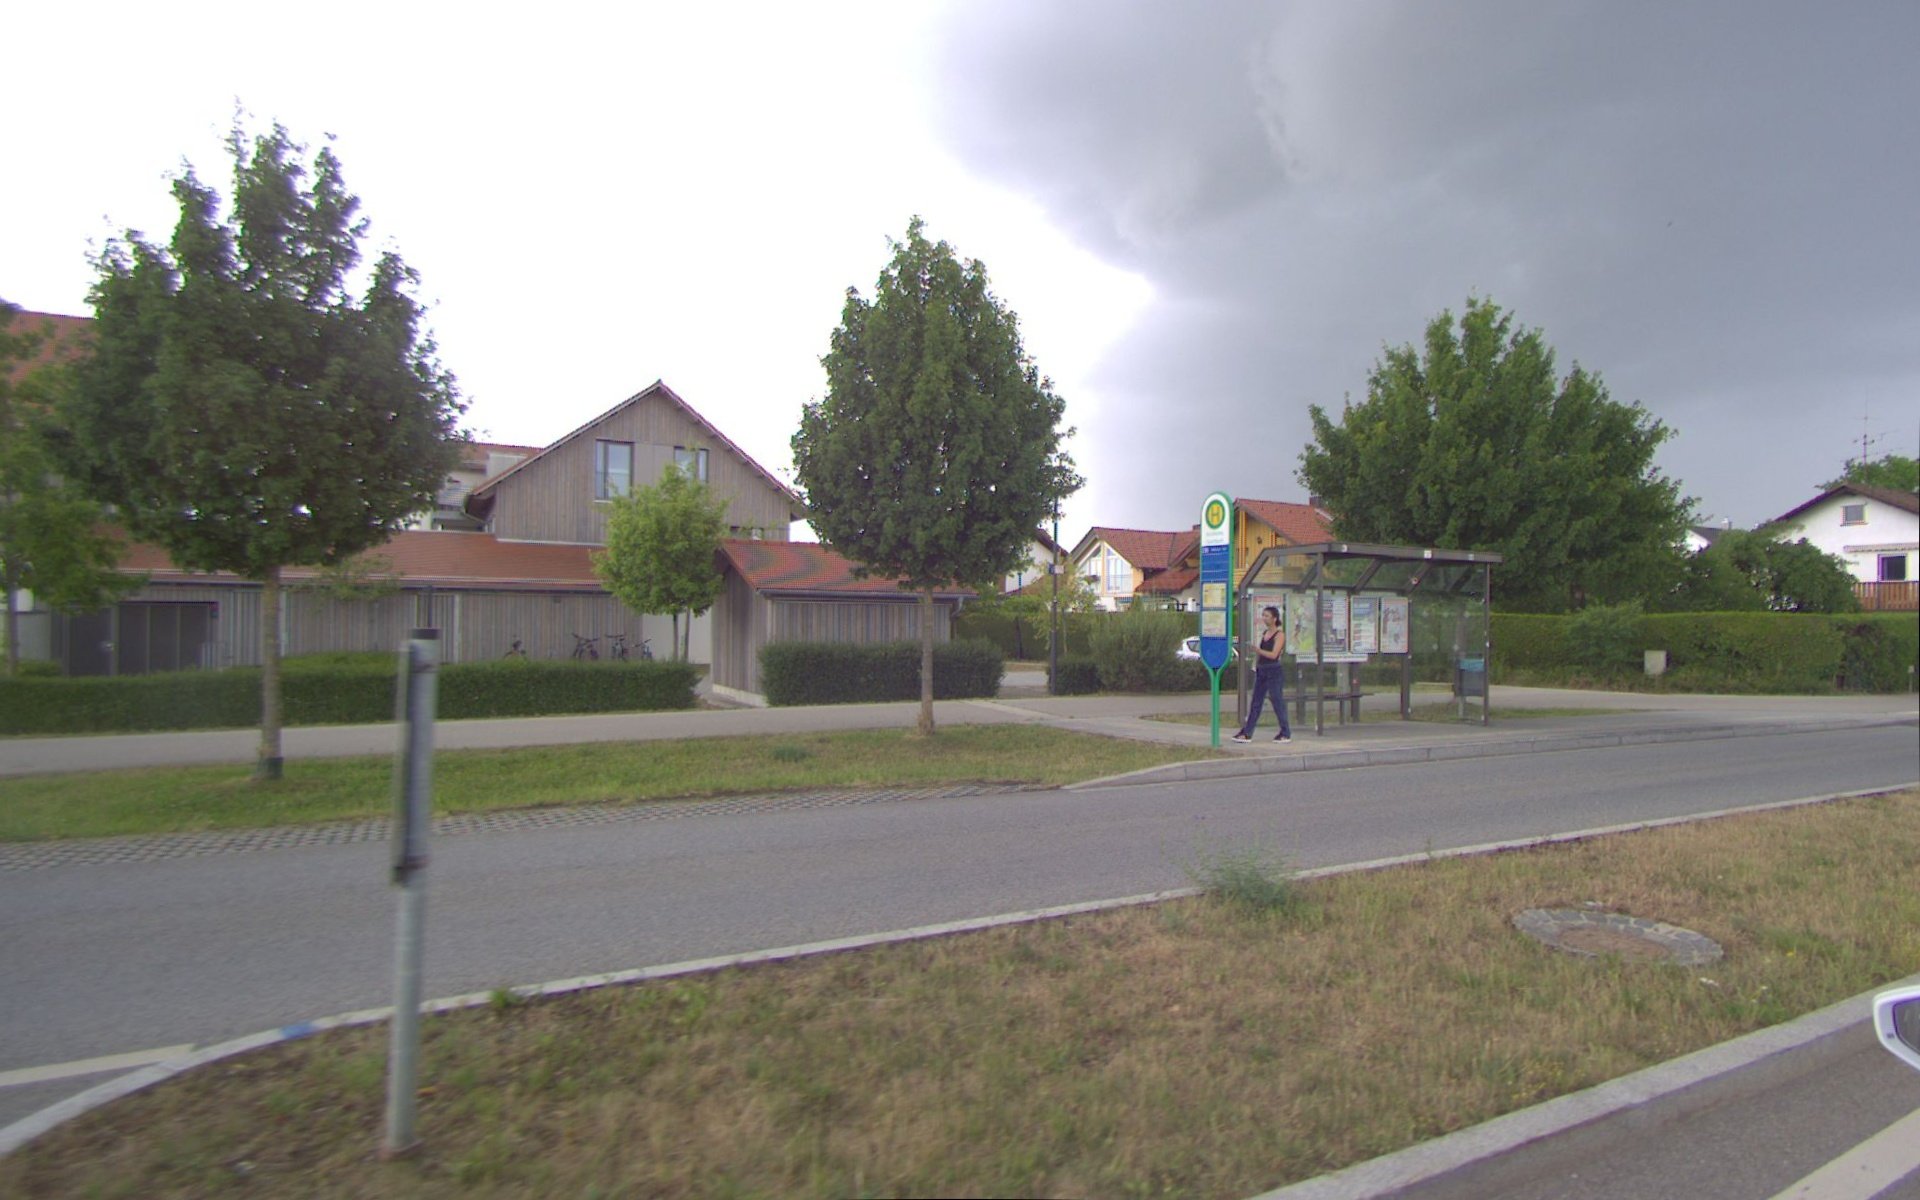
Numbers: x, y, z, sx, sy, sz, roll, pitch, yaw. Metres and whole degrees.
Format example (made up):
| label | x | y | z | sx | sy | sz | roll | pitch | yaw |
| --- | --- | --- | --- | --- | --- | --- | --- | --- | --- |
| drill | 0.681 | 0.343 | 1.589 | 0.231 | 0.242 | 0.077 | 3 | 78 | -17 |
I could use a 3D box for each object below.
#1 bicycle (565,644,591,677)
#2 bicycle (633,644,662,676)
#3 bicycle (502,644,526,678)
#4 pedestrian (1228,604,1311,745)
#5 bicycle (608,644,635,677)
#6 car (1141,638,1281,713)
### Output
| label | x | y | z | sx | sy | sz | roll | pitch | yaw |
| --- | --- | --- | --- | --- | --- | --- | --- | --- | --- |
| bicycle | -11.570 | 1.804 | 30.394 | 0.414 | 0.921 | 1.932 | 1 | -1 | -30 |
| bicycle | -9.791 | 1.865 | 31.423 | 0.414 | 0.921 | 1.932 | 1 | -1 | -30 |
| bicycle | -13.078 | 1.774 | 29.443 | 0.414 | 0.921 | 1.932 | 1 | -1 | -30 |
| pedestrian | 3.777 | 0.884 | 12.267 | 0.803 | 1.658 | 0.585 | 1 | -1 | -30 |
| bicycle | -10.473 | 1.853 | 31.044 | 0.414 | 0.921 | 1.932 | 1 | -1 | -30 |
| car | 7.652 | 2.250 | 30.931 | 1.977 | 2.040 | 3.967 | 1 | -1 | -31 |
